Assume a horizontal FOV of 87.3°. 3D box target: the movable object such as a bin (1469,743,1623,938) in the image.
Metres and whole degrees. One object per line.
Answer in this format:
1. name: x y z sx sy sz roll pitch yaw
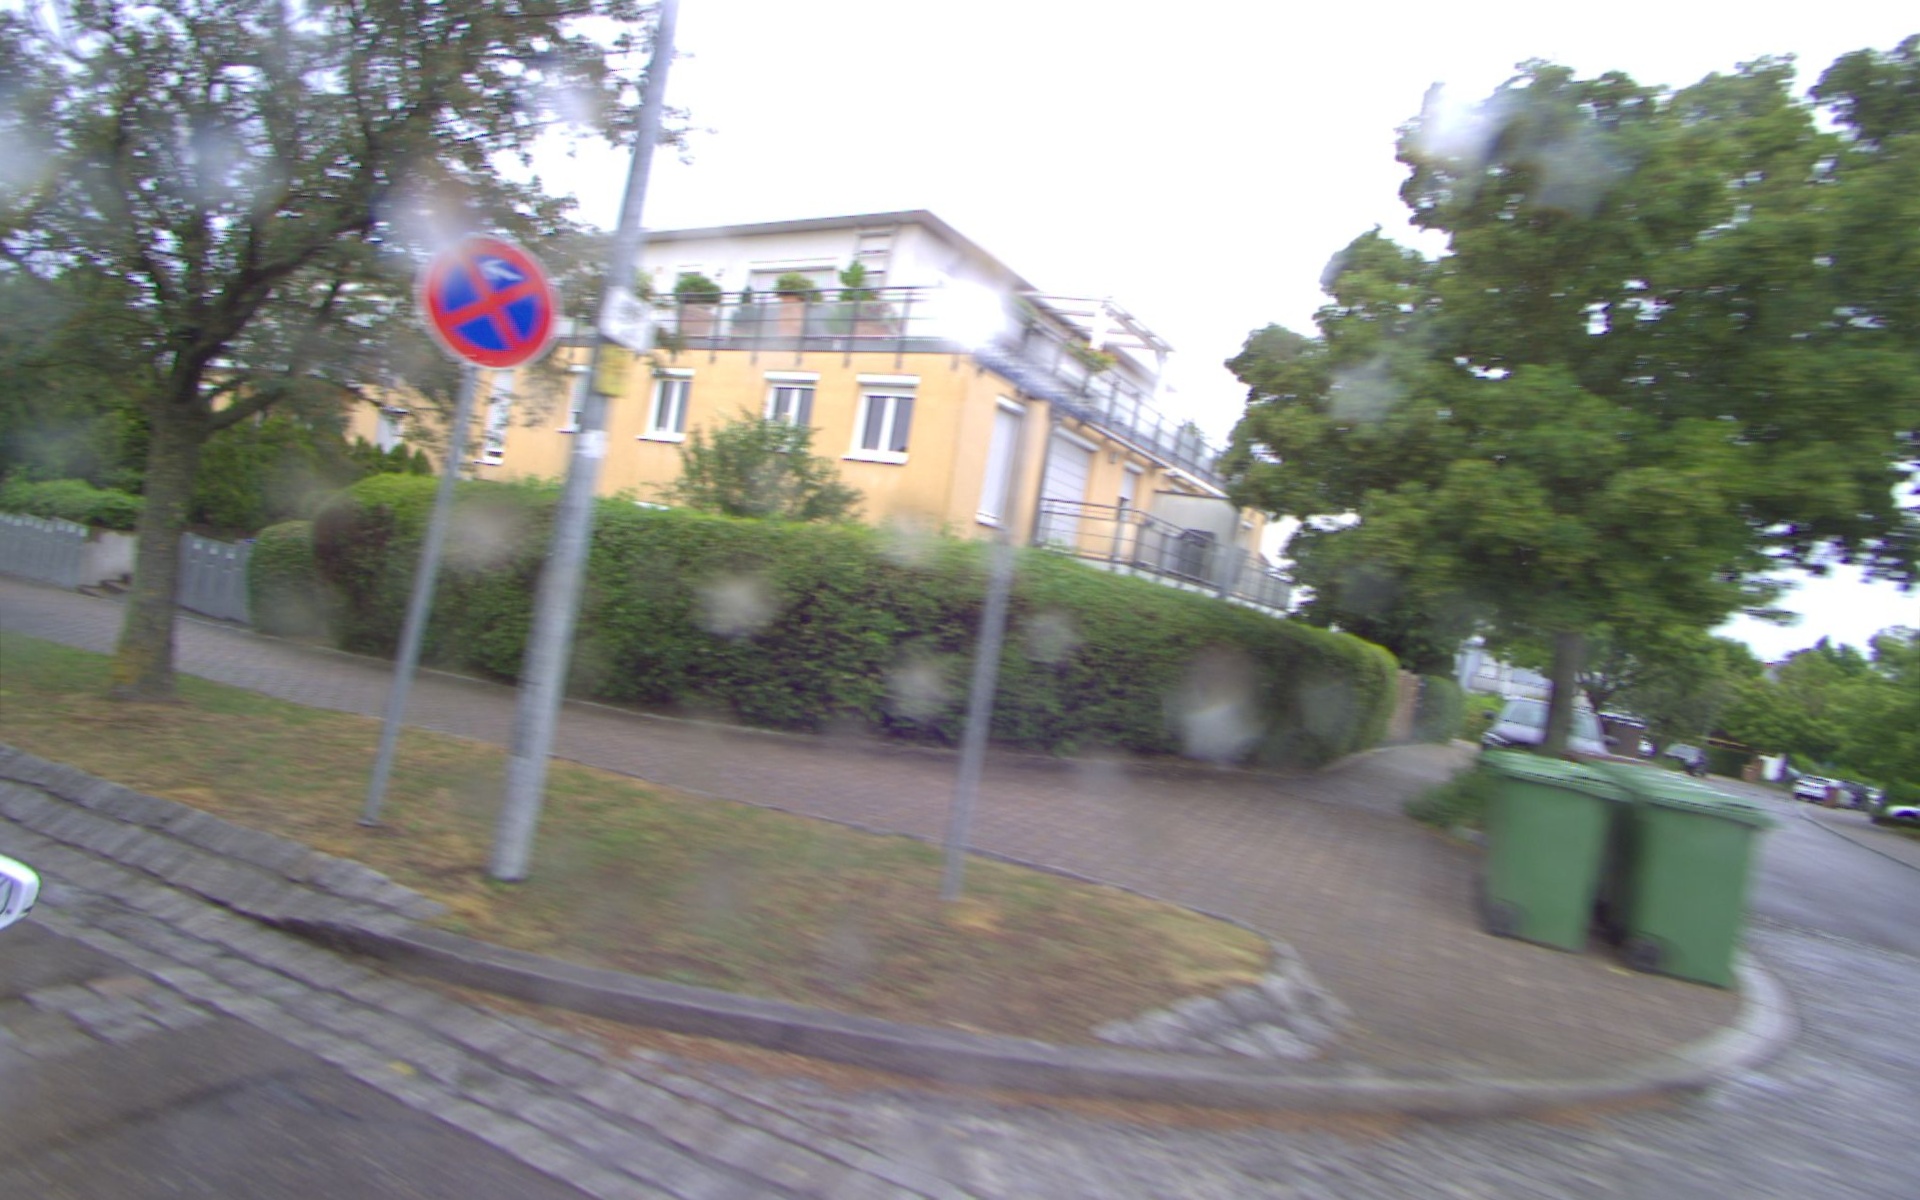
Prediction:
1. movable object such as a bin: 3.945 1.592 6.827 0.684 1.085 0.597 9 1 22

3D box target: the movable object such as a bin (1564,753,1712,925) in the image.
1. movable object such as a bin: 5.122 1.783 7.648 0.684 1.067 0.605 9 1 22

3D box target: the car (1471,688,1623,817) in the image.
1. car: 9.882 2.500 17.069 1.751 1.536 4.134 12 0 30

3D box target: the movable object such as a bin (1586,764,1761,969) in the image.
1. movable object such as a bin: 4.607 1.696 6.544 0.684 1.088 0.543 9 1 22

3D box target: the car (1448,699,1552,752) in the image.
1. car: 24.807 5.765 46.367 3.929 1.586 1.908 10 -1 27

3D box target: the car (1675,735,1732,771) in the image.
1. car: 49.869 10.256 67.473 3.817 1.831 1.782 10 -1 -34

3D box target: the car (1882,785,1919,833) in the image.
1. car: 40.083 8.741 40.576 3.940 1.683 1.774 7 -1 38

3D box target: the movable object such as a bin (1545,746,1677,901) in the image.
1. movable object such as a bin: 5.405 1.835 8.390 0.684 1.067 0.605 9 1 22

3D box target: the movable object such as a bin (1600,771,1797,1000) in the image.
1. movable object such as a bin: 4.350 1.650 5.982 0.684 1.088 0.602 9 1 22

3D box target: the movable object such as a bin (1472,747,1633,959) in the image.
1. movable object such as a bin: 3.654 1.533 6.257 0.655 1.086 0.543 9 1 23

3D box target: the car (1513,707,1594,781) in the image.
1. car: 15.515 3.727 26.251 1.491 1.493 3.269 12 0 33

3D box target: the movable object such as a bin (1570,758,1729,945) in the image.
1. movable object such as a bin: 4.833 1.740 7.097 0.684 1.080 0.579 9 1 22
